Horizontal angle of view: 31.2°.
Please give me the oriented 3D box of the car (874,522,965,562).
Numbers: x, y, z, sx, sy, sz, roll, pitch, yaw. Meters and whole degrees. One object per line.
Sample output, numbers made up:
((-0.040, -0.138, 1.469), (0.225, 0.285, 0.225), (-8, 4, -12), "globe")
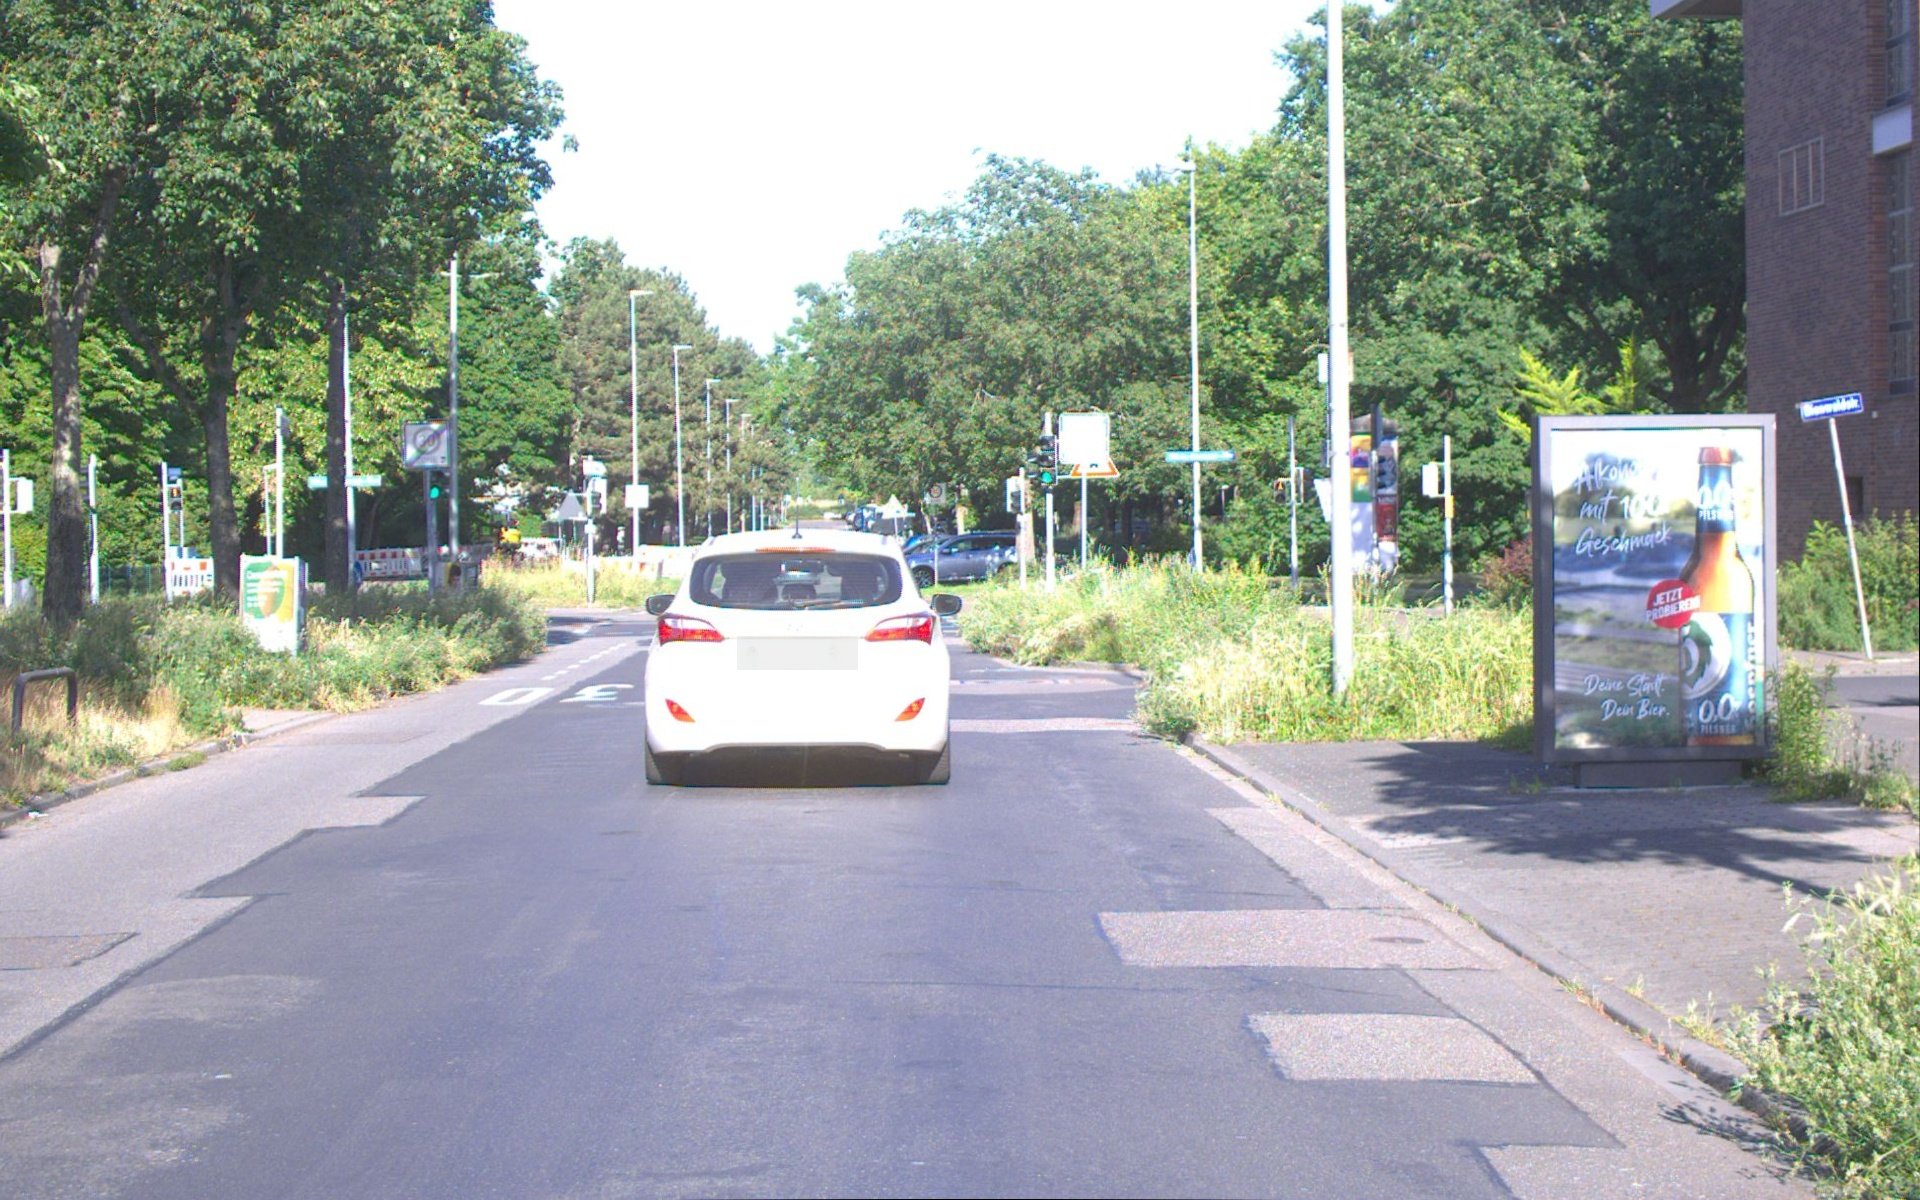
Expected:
((-1.750, -2.475, 147.139), (3.819, 1.678, 1.863), (1, 1, -2), "car")

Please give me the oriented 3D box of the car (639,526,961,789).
((-0.966, 0.277, 21.152), (1.789, 1.458, 3.964), (0, 1, -2), "car")

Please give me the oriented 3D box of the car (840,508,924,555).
((-3.583, -3.129, 157.121), (3.819, 2.091, 1.863), (1, 1, -2), "car")

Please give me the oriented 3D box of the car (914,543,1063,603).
((0.881, -0.825, 105.199), (4.499, 1.777, 1.855), (-1, 1, 1), "car")

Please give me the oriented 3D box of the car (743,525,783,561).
((-10.151, -2.950, 177.293), (1.993, 1.809, 4.001), (0, 1, -2), "car")

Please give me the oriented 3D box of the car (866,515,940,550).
((-3.017, -3.550, 181.318), (3.819, 1.761, 1.863), (1, 1, -2), "car")

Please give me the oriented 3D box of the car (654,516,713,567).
((-10.346, -2.217, 128.934), (1.993, 1.809, 4.001), (1, 2, -2), "car")

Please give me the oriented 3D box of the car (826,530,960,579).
((-2.260, -1.552, 117.024), (4.499, 1.624, 1.855), (-1, 1, 1), "car")

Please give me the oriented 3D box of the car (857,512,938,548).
((-3.363, -3.760, 184.456), (4.301, 1.901, 1.863), (1, 1, -2), "car")

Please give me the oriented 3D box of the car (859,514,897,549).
((-4.373, -3.625, 182.347), (1.993, 1.809, 4.000), (1, 1, -2), "car")

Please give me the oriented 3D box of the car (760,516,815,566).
((-6.637, -2.275, 132.503), (1.993, 1.809, 4.000), (2, 1, -2), "car")

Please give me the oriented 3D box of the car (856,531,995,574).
((-1.434, -1.931, 140.367), (5.613, 1.678, 1.948), (1, 1, -2), "car")

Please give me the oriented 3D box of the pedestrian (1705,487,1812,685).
((7.447, -0.132, 32.090), (0.900, 1.815, 0.736), (1, 1, 8), "pedestrian")

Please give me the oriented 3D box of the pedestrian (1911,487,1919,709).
((7.751, -0.016, 26.928), (0.554, 1.726, 0.661), (1, 1, 14), "pedestrian")
